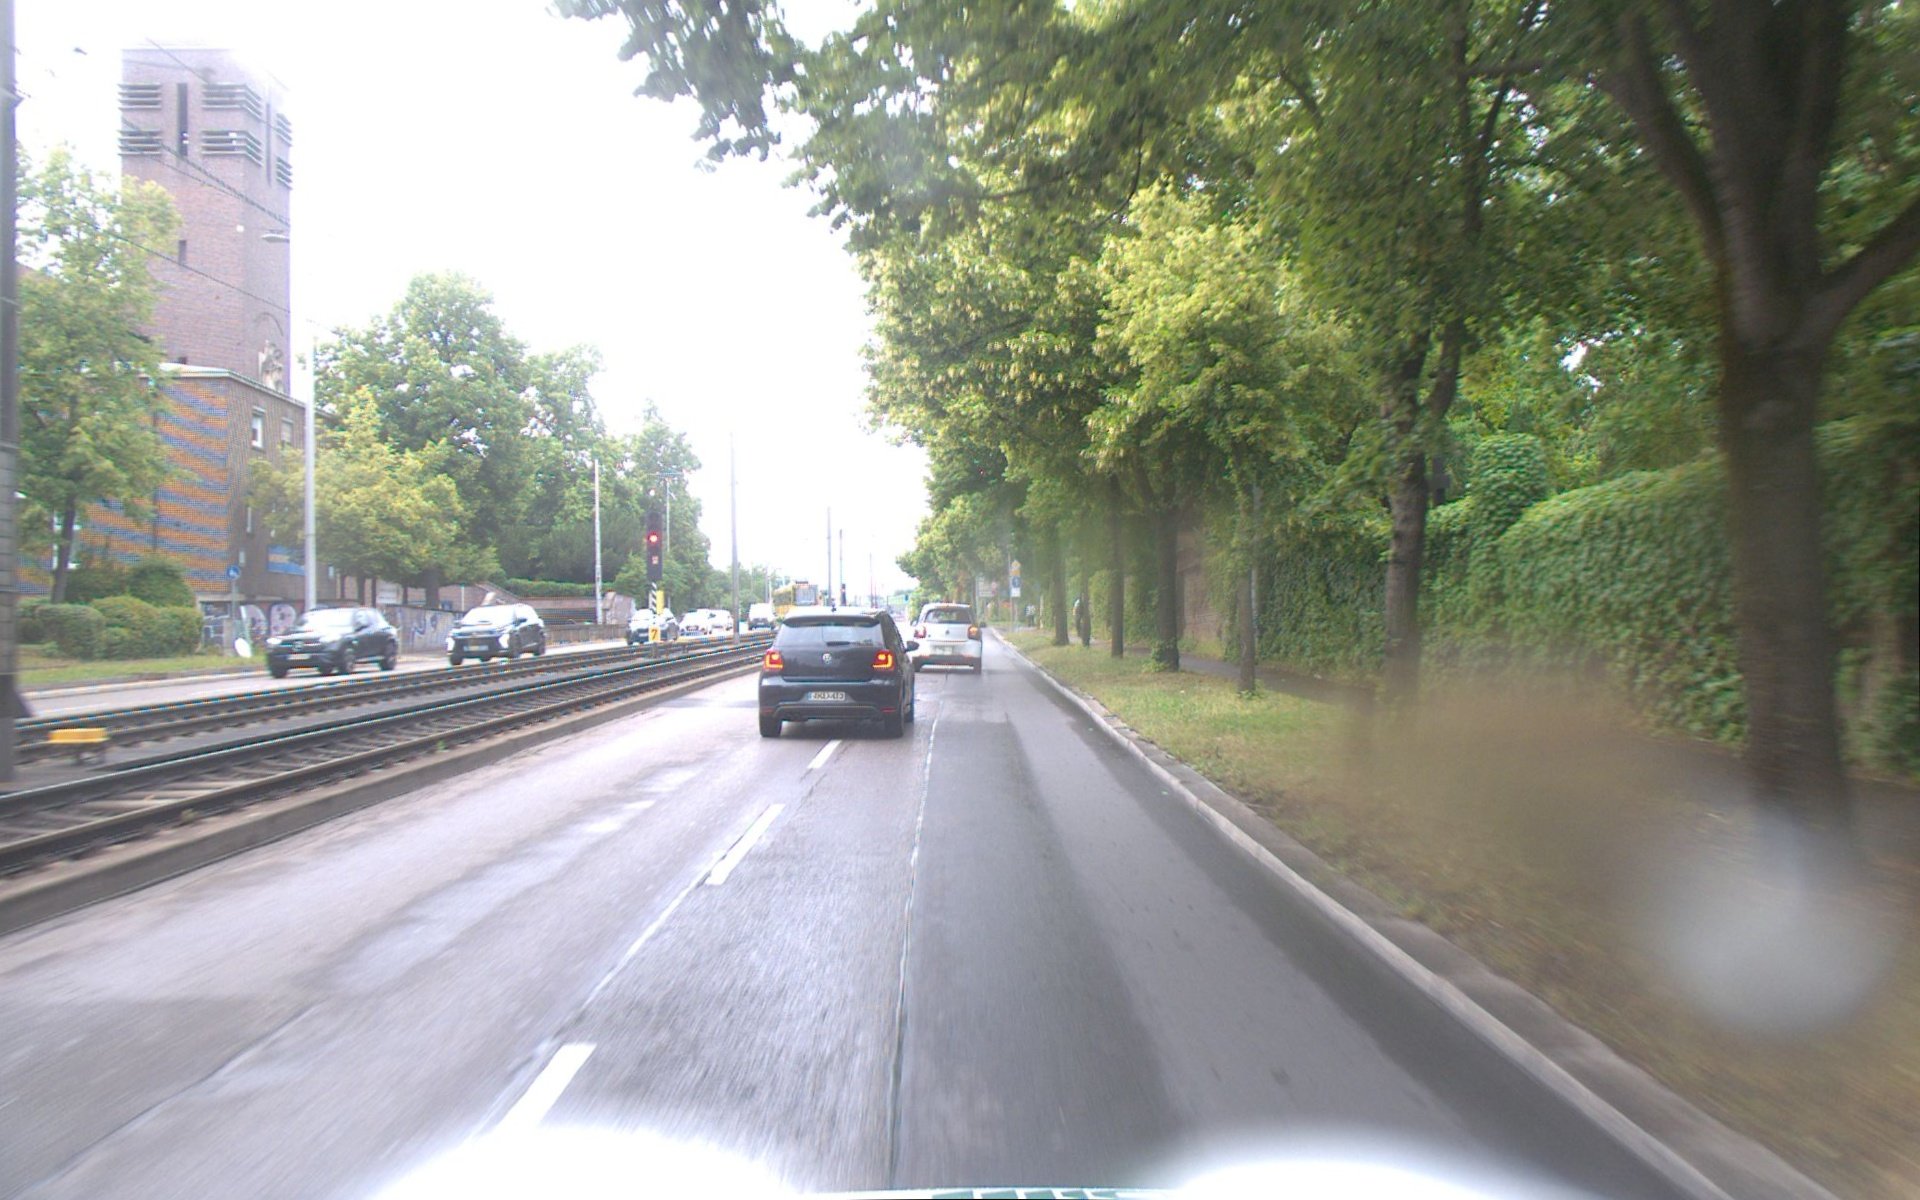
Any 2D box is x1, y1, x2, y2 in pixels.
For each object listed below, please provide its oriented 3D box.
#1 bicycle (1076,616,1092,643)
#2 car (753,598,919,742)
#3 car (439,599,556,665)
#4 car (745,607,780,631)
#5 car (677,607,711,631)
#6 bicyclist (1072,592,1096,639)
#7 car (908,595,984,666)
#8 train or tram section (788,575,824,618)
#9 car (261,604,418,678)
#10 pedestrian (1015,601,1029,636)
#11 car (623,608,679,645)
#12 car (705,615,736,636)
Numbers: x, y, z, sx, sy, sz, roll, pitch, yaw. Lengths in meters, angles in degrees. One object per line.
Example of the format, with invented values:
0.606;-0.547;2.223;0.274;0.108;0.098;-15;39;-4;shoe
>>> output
4.416;1.028;59.047;0.399;0.918;2.098;-1;0;-1;bicycle
-1.389;0.758;19.853;1.757;1.511;3.963;1;0;-1;car
-12.486;0.832;44.917;1.796;1.685;4.240;-1;0;2;car
-14.453;1.386;121.331;1.953;1.691;5.126;0;0;-1;car
-17.062;1.194;106.260;1.583;1.459;3.999;0;0;-1;car
4.419;0.541;59.051;0.747;1.644;0.998;-1;0;-1;bicyclist
-0.306;0.684;38.755;1.641;1.557;3.721;1;0;0;car
-13.606;-0.289;147.027;2.775;3.668;9.264;0;0;-3;train or tram section
-15.287;0.974;41.009;1.971;1.685;4.618;-1;0;2;car
5.411;1.586;145.058;1.140;3.029;0.948;0;0;-1;pedestrian
-12.906;1.084;69.258;1.646;1.487;3.608;-1;0;0;car
-17.719;1.861;122.544;1.693;1.469;3.999;0;0;-1;car
